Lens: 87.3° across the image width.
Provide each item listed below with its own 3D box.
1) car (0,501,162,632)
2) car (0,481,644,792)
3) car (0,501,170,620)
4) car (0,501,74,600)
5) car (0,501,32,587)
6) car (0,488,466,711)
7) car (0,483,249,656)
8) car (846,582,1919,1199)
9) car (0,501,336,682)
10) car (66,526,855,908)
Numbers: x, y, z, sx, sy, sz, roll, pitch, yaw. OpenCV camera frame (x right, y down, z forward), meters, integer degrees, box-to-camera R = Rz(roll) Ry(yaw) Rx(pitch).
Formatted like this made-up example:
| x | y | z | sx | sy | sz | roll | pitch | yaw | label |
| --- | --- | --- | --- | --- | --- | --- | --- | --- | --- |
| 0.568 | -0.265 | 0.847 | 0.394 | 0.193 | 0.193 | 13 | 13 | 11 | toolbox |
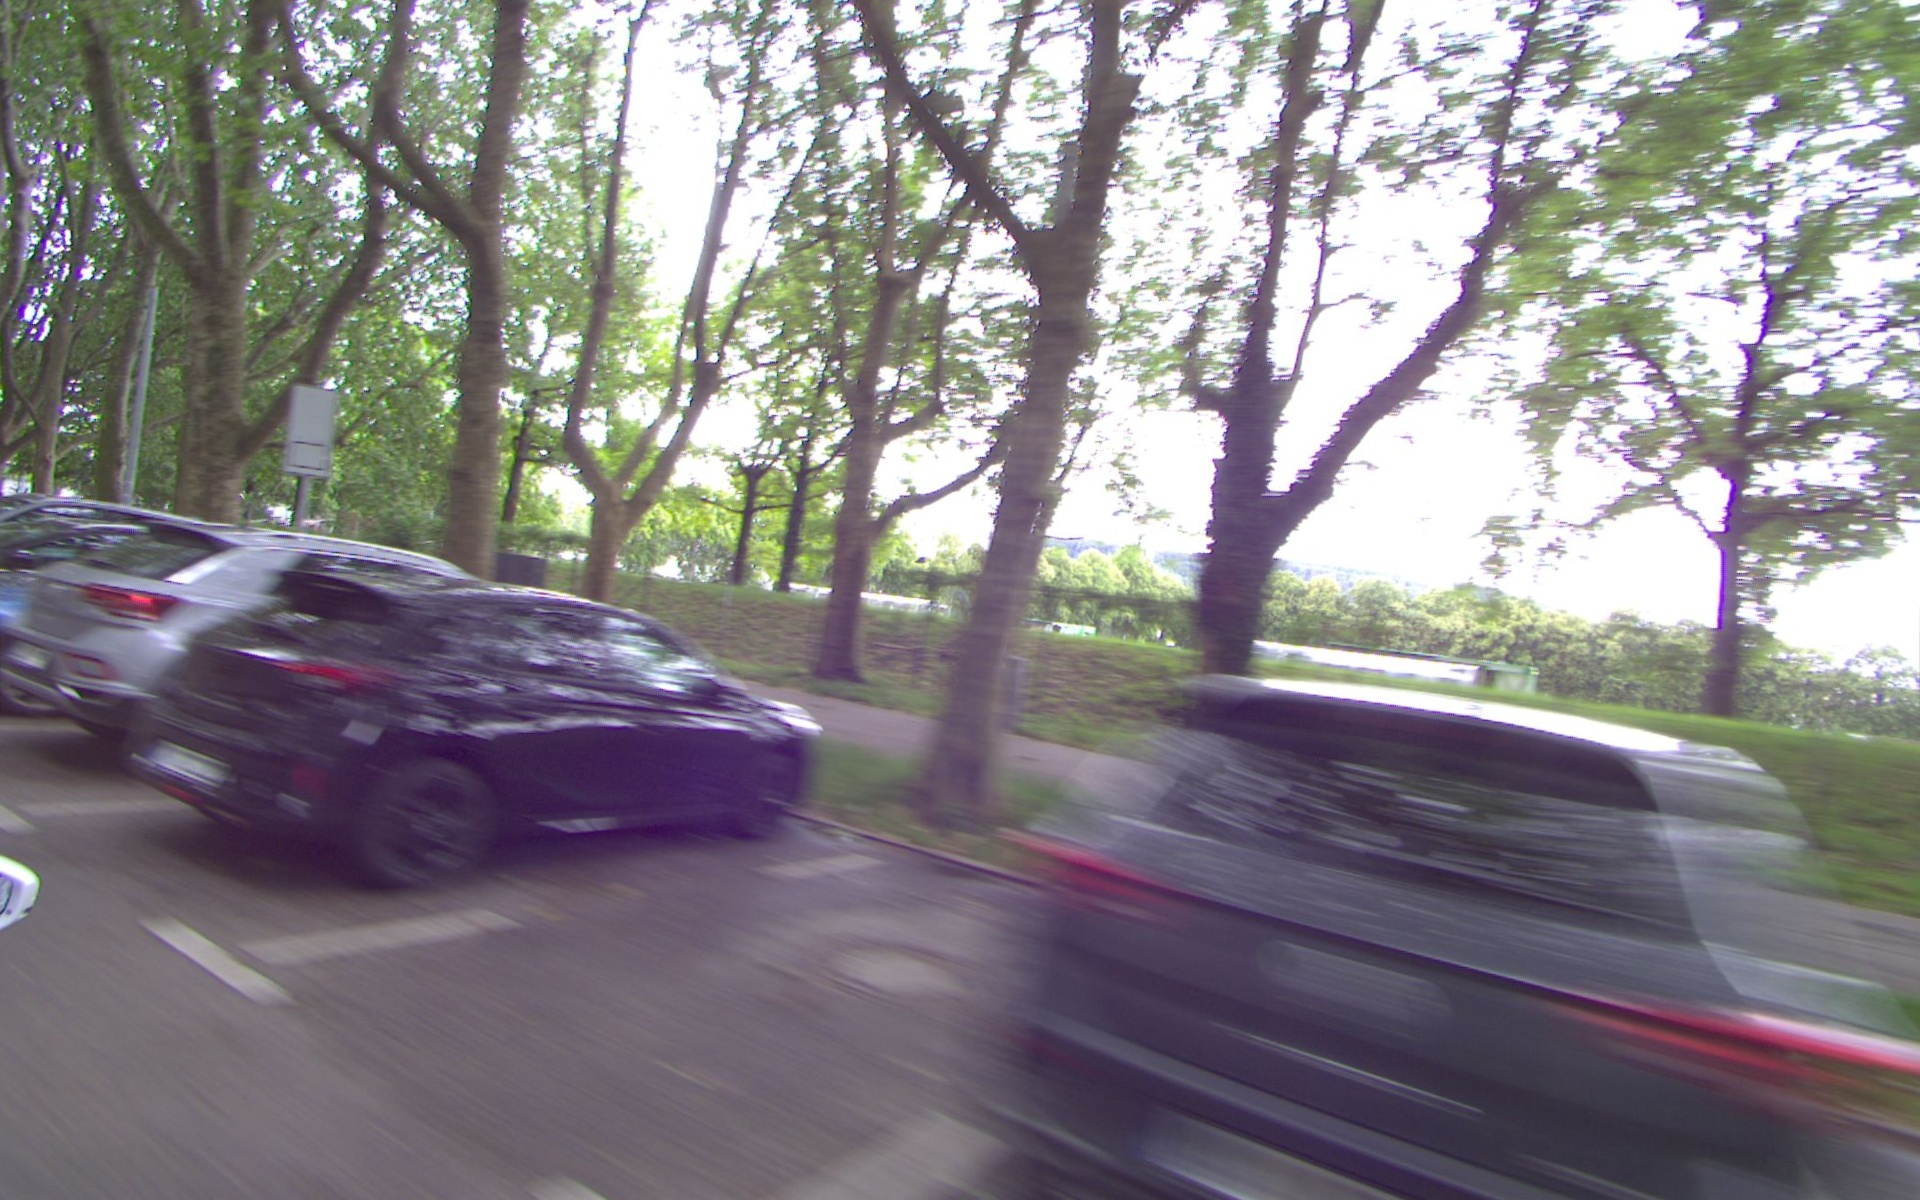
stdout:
| x | y | z | sx | sy | sz | roll | pitch | yaw | label |
| --- | --- | --- | --- | --- | --- | --- | --- | --- | --- |
| -12.853 | -0.614 | 12.551 | 1.666 | 1.486 | 4.122 | 7 | -2 | 32 | car |
| -4.508 | 0.349 | 7.503 | 1.666 | 1.625 | 3.836 | 7 | -2 | 30 | car |
| -14.164 | -0.720 | 14.633 | 1.597 | 1.486 | 3.782 | 7 | -2 | 33 | car |
| -16.512 | -1.024 | 15.576 | 1.639 | 1.486 | 3.784 | 7 | -2 | 32 | car |
| -18.731 | -1.298 | 16.808 | 1.597 | 1.486 | 4.376 | 7 | -2 | 31 | car |
| -6.561 | 0.052 | 8.556 | 1.666 | 1.472 | 3.836 | 7 | -2 | 30 | car |
| -10.762 | -0.447 | 11.259 | 1.666 | 1.688 | 4.122 | 7 | -2 | 32 | car |
| 1.530 | 1.006 | 3.540 | 1.666 | 1.502 | 3.997 | 7 | -2 | 30 | car |
| -8.751 | -0.133 | 9.748 | 1.583 | 1.467 | 4.222 | 7 | -2 | 30 | car |
| -2.512 | 0.632 | 6.033 | 1.666 | 1.404 | 3.836 | 7 | -2 | 30 | car |
